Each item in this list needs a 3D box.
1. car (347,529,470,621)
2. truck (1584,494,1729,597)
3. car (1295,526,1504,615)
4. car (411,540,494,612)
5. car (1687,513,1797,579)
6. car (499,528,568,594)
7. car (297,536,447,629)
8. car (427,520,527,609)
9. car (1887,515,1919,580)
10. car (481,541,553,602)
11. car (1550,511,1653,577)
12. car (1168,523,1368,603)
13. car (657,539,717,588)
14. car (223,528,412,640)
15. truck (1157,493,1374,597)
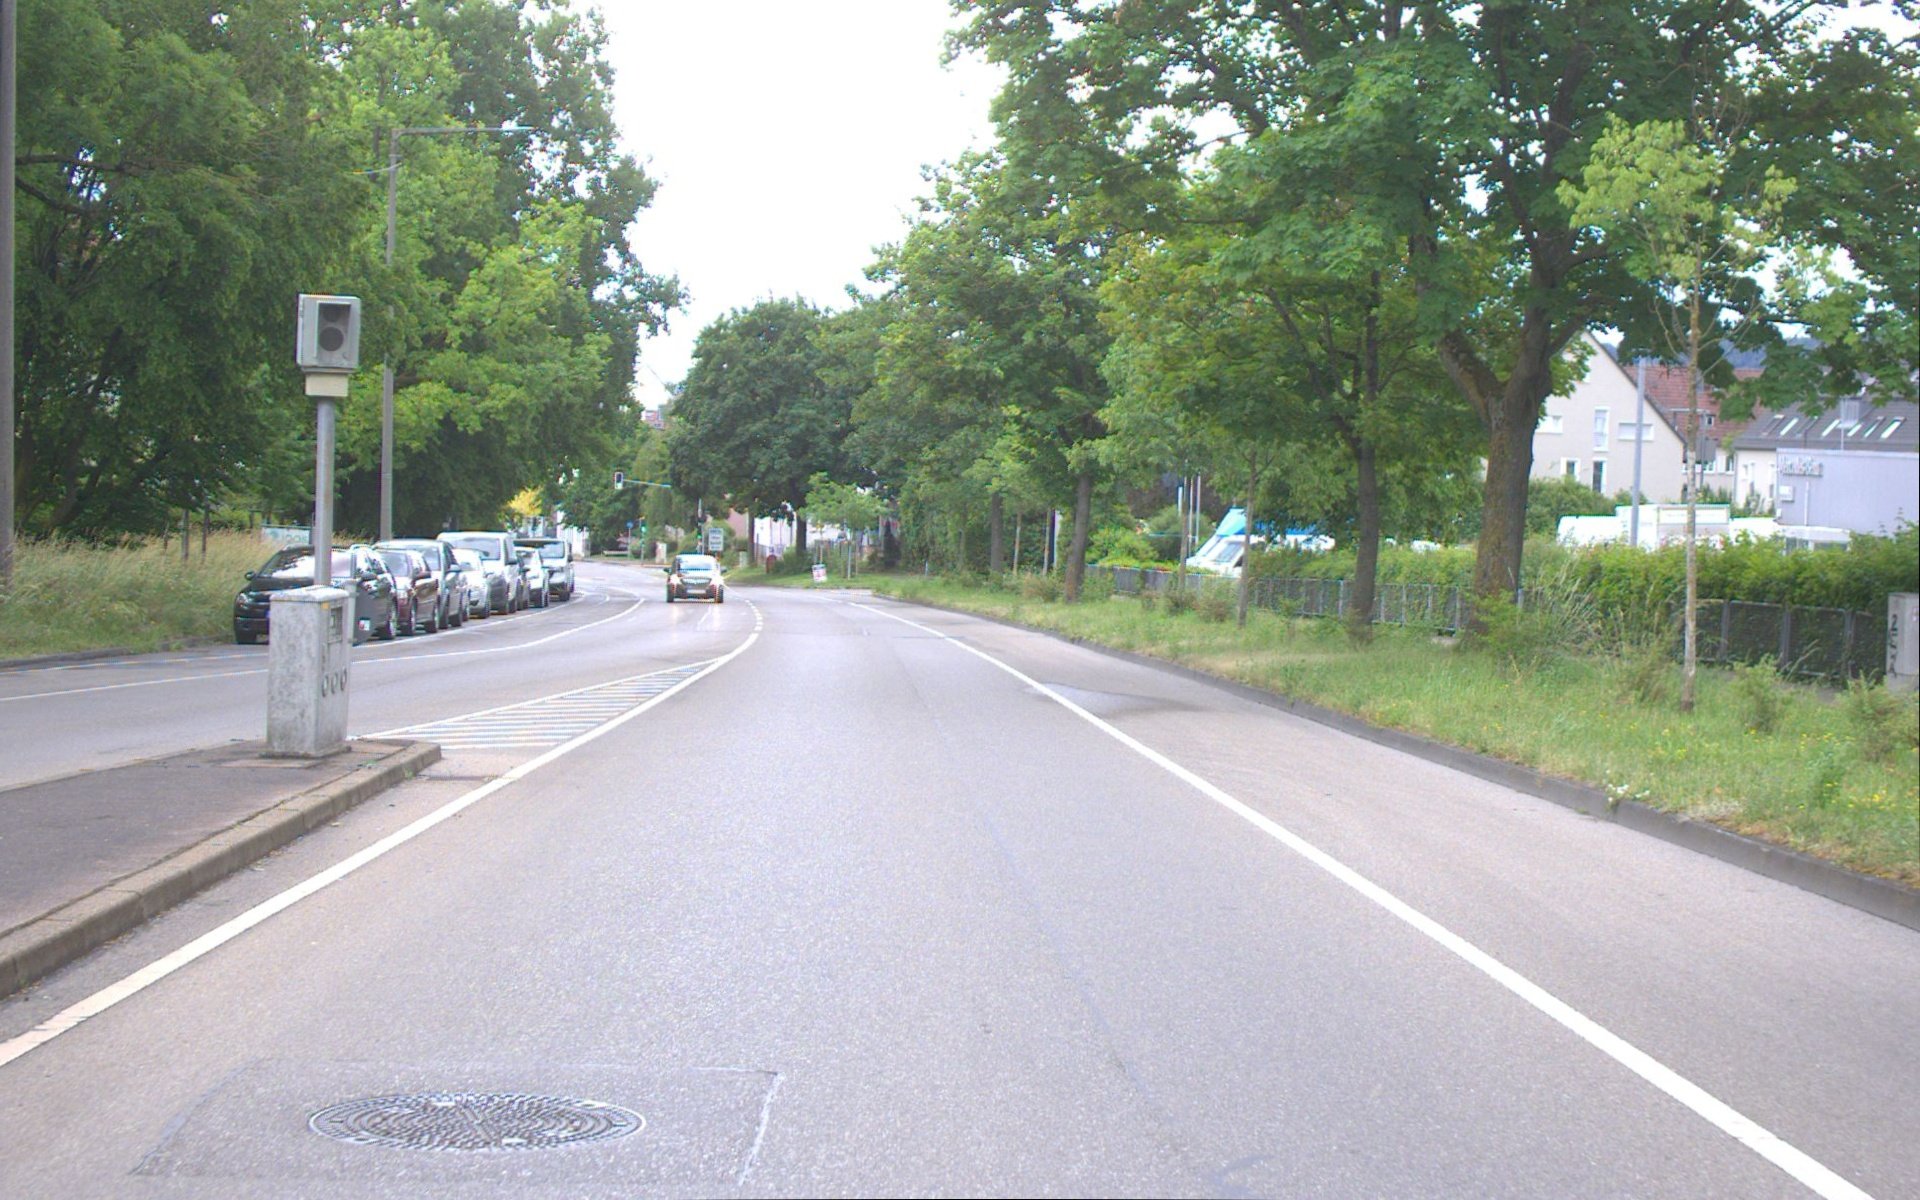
[{"bbox_3d":[-9.986,-0.480,62.459,1.768,1.586,4.135,1,1,-3],"label":"car"},{"bbox_3d":[24.847,-1.911,123.112,2.853,3.447,9.542,2,0,-2],"label":"truck"},{"bbox_3d":[11.814,-0.794,92.337,5.244,2.180,2.072,2,0,-28],"label":"car"},{"bbox_3d":[-10.939,-0.540,74.278,1.634,1.428,3.951,2,1,-7],"label":"car"},{"bbox_3d":[33.665,-2.345,147.867,2.261,2.667,5.437,3,4,41],"label":"car"},{"bbox_3d":[-13.086,-1.205,105.673,1.866,1.957,5.128,1,1,-5],"label":"car"},{"bbox_3d":[-9.704,-0.319,57.044,1.768,1.442,4.150,1,1,0],"label":"car"},{"bbox_3d":[-11.207,-0.853,80.043,1.768,1.924,5.156,2,1,-3],"label":"car"},{"bbox_3d":[41.874,-2.269,146.741,2.261,2.667,5.437,3,4,41],"label":"car"},{"bbox_3d":[-11.720,-0.770,91.183,1.673,1.559,4.282,1,1,-5],"label":"car"},{"bbox_3d":[27.912,-2.468,149.494,2.260,2.667,5.439,2,3,35],"label":"car"},{"bbox_3d":[9.982,-1.184,111.263,6.009,2.359,2.363,2,0,-27],"label":"car"},{"bbox_3d":[-8.291,-1.107,104.623,1.637,1.462,4.000,0,1,-2],"label":"car"},{"bbox_3d":[-9.601,-0.254,51.714,1.875,1.565,4.651,2,1,1],"label":"car"},{"bbox_3d":[10.619,-1.895,119.194,7.162,3.465,2.619,0,1,-28],"label":"truck"}]
